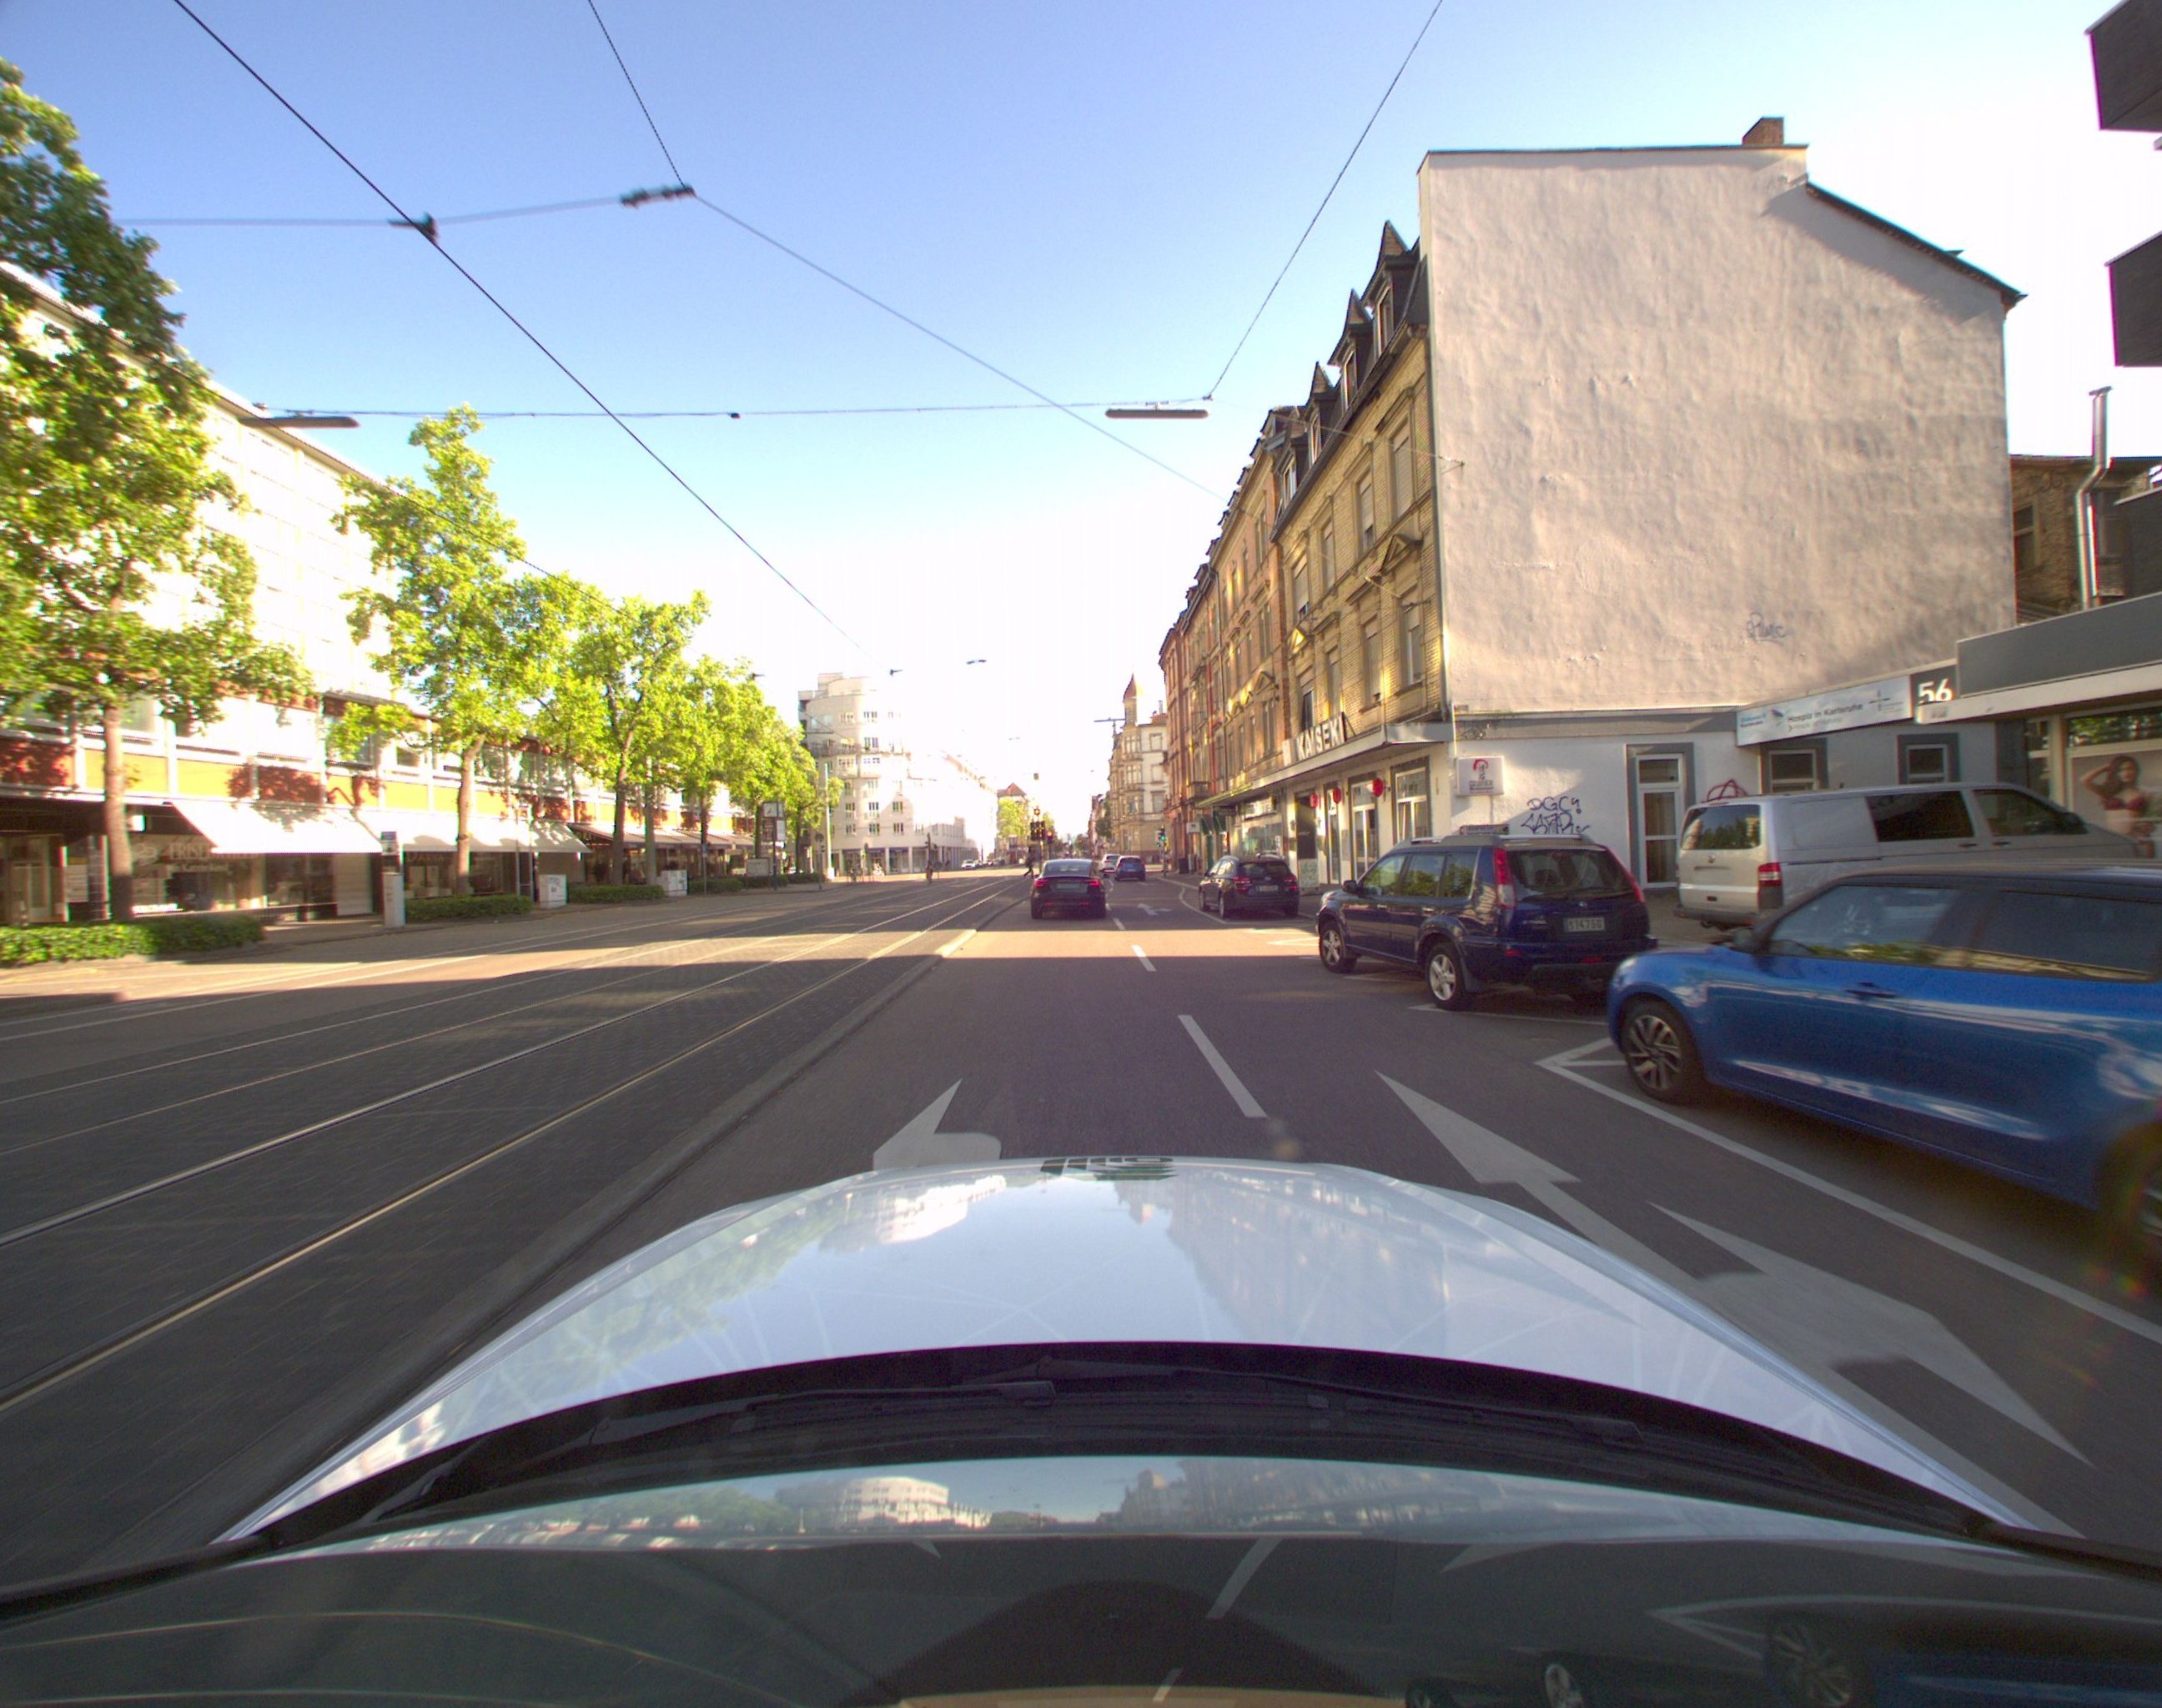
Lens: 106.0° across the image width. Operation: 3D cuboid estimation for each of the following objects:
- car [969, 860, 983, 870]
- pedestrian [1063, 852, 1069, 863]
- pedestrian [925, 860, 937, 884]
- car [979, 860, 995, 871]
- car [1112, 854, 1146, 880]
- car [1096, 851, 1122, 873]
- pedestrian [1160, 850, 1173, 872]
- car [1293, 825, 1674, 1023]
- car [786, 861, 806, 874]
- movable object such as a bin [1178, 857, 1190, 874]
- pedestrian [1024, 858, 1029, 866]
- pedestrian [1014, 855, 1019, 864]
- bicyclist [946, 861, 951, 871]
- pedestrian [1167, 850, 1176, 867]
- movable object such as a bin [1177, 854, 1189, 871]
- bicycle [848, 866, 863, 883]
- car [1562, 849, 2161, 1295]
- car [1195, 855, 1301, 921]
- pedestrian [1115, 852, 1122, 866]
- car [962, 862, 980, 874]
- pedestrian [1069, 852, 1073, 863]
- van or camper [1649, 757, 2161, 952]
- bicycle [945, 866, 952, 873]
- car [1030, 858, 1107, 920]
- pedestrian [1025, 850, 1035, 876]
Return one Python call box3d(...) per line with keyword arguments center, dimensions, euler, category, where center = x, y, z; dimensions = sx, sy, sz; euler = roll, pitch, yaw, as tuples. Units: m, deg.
box3d(center=(-17.308, 1.789, 134.516), dimensions=(1.989, 1.596, 3.996), euler=(-2, -1, -3), category="car")
box3d(center=(-2.506, 0.616, 139.373), dimensions=(0.710, 1.777, 0.569), euler=(-2, 0, 35), category="pedestrian")
box3d(center=(-9.818, 1.164, 53.276), dimensions=(0.498, 1.517, 0.859), euler=(-4, 0, -1), category="pedestrian")
box3d(center=(-16.688, 1.998, 144.663), dimensions=(2.221, 1.911, 4.606), euler=(-2, 0, -1), category="car")
box3d(center=(2.828, 0.758, 48.283), dimensions=(1.775, 1.451, 3.653), euler=(0, 0, 0), category="car")
box3d(center=(2.278, 0.664, 66.398), dimensions=(1.987, 1.743, 3.999), euler=(0, -1, 0), category="car")
box3d(center=(6.188, 0.497, 59.038), dimensions=(0.681, 1.607, 0.728), euler=(-2, 0, -10), category="pedestrian")
box3d(center=(4.168, 0.614, 9.454), dimensions=(1.689, 1.713, 4.603), euler=(0, 0, -8), category="car")
box3d(center=(-34.472, 1.633, 98.587), dimensions=(1.800, 1.402, 4.083), euler=(-2, 2, -14), category="car")
box3d(center=(6.828, 0.754, 54.232), dimensions=(0.661, 1.072, 0.591), euler=(-5, 0, 1), category="movable object such as a bin")
box3d(center=(-10.260, 1.538, 153.093), dimensions=(0.729, 1.559, 0.742), euler=(-2, 1, -2), category="pedestrian")
box3d(center=(-11.296, 0.998, 142.196), dimensions=(0.729, 1.527, 0.742), euler=(-2, 1, -2), category="pedestrian")
box3d(center=(-18.000, 1.604, 110.571), dimensions=(0.586, 1.285, 0.927), euler=(-2, -1, 0), category="bicyclist")
box3d(center=(8.743, 0.453, 78.621), dimensions=(0.694, 1.655, 0.635), euler=(-3, -1, 21), category="pedestrian")
box3d(center=(6.838, 0.590, 54.829), dimensions=(0.661, 1.072, 0.545), euler=(-5, 0, 1), category="movable object such as a bin")
box3d(center=(-16.708, 1.511, 60.293), dimensions=(0.496, 1.186, 2.233), euler=(-2, 0, -2), category="bicycle")
box3d(center=(4.353, 0.710, 3.999), dimensions=(1.709, 1.454, 3.776), euler=(0, 0, -1), category="car")
box3d(center=(4.035, 0.750, 20.354), dimensions=(1.685, 1.451, 4.358), euler=(0, 0, -1), category="car")
box3d(center=(4.856, 0.659, 106.570), dimensions=(0.778, 1.749, 1.092), euler=(-2, 1, -3), category="pedestrian")
box3d(center=(-14.890, 1.923, 110.637), dimensions=(1.988, 1.451, 4.498), euler=(-2, 0, -2), category="car")
box3d(center=(-1.629, 0.565, 134.529), dimensions=(0.633, 1.698, 0.935), euler=(-1, -1, 7), category="pedestrian")
box3d(center=(10.571, 0.007, 10.698), dimensions=(4.673, 1.933, 2.002), euler=(-5, 0, 3), category="van or camper")
box3d(center=(-17.977, 2.124, 110.658), dimensions=(0.592, 0.972, 1.817), euler=(-2, -1, 0), category="bicycle")
box3d(center=(-0.316, 0.821, 21.135), dimensions=(1.805, 1.424, 4.152), euler=(0, 0, -1), category="car")
box3d(center=(-3.513, 0.628, 55.907), dimensions=(0.556, 1.763, 0.895), euler=(-4, 0, -1), category="pedestrian")
